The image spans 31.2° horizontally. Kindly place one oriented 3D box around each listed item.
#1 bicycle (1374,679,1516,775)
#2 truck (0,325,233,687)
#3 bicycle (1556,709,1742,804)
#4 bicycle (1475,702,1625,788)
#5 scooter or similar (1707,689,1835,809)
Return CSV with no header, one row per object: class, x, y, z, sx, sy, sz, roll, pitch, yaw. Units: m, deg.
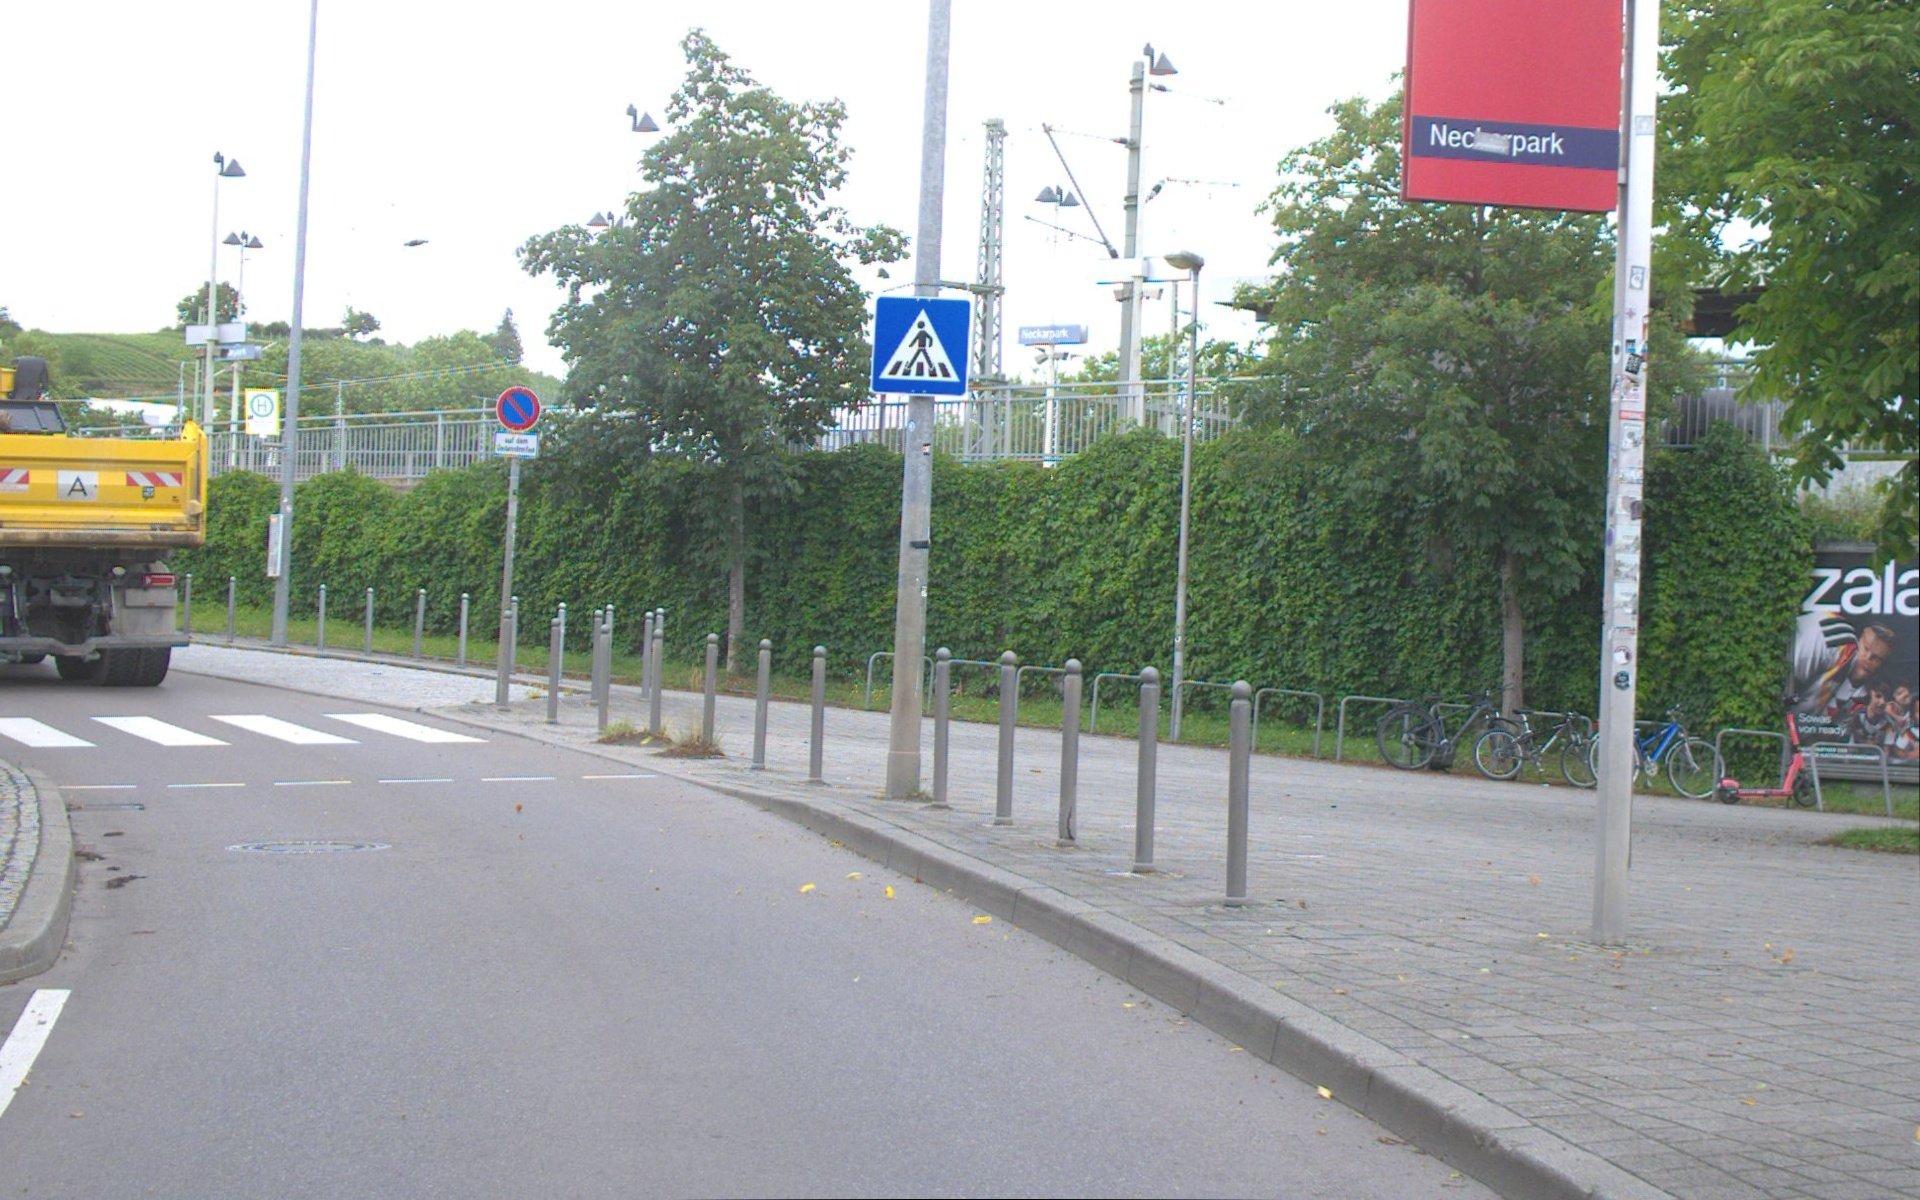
bicycle,5.647,1.476,40.074,1.487,0.986,0.694,5,0,1
truck,-10.542,-1.091,37.337,2.764,3.471,8.130,2,2,-29
bicycle,7.729,1.754,38.565,1.965,0.862,0.511,6,-1,-17
bicycle,6.783,1.668,39.518,1.574,0.851,0.464,5,-1,-14
scooter or similar,8.833,1.617,37.436,1.187,1.202,0.468,5,-1,-14
